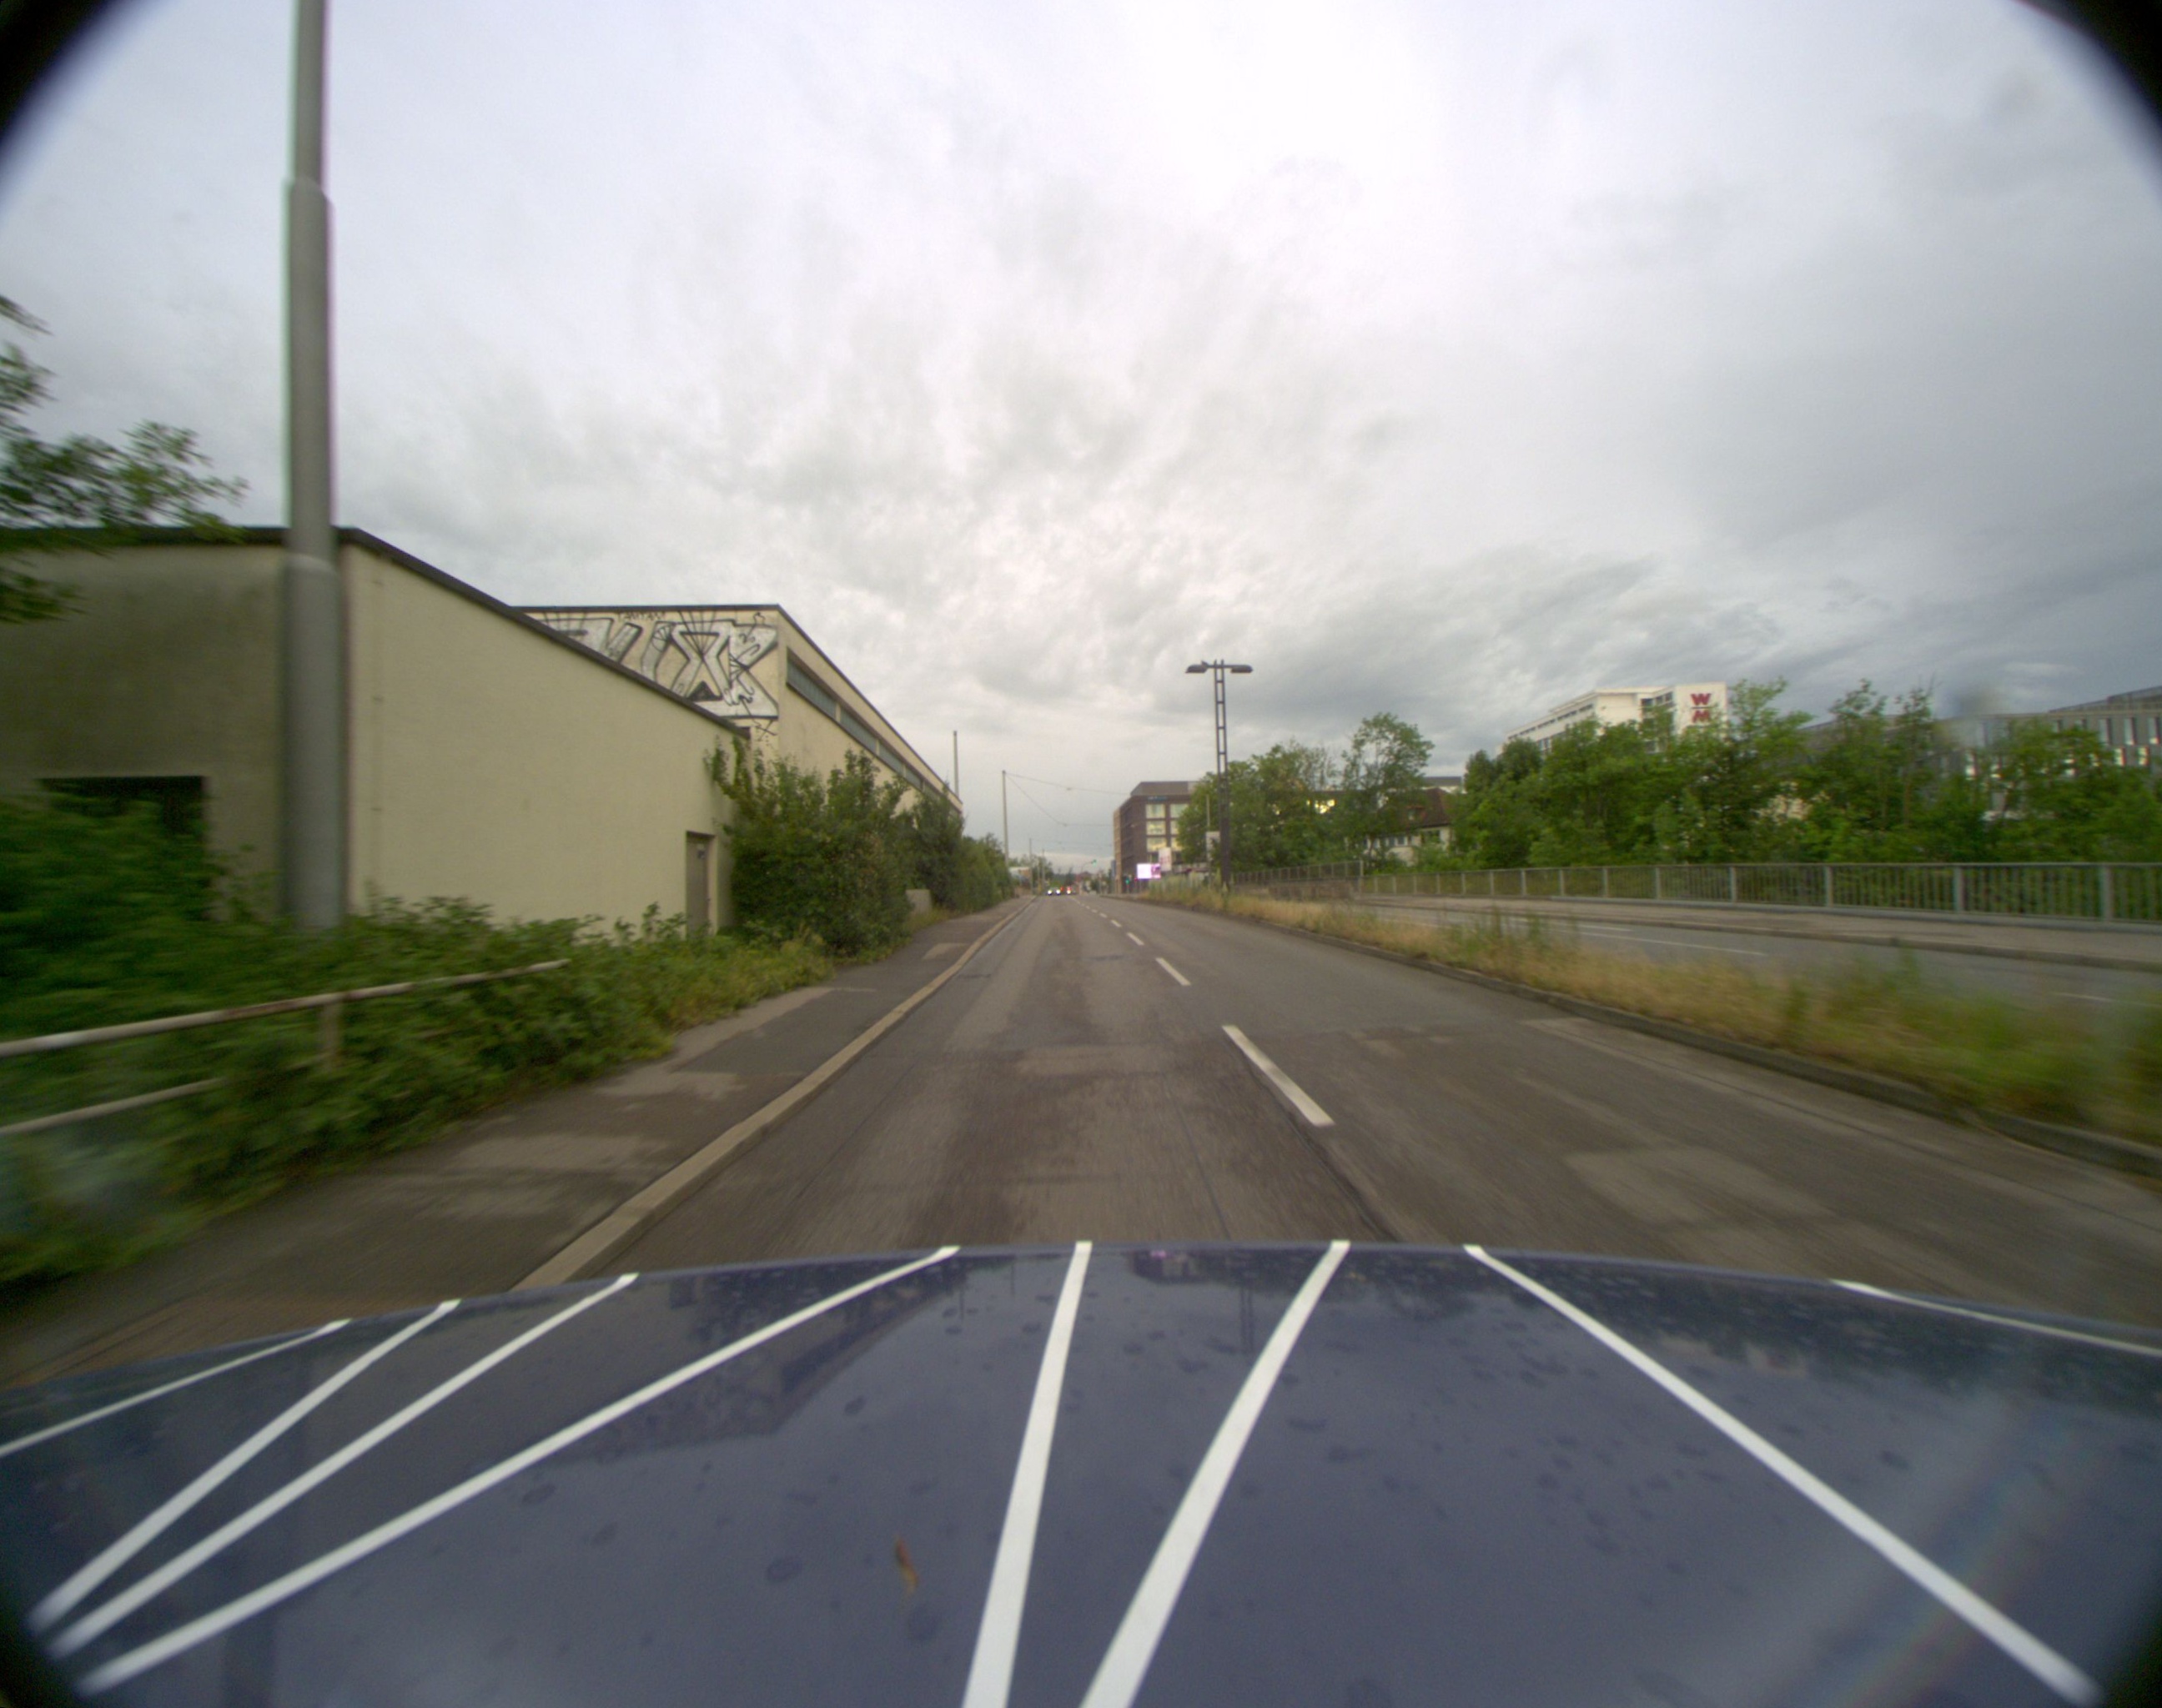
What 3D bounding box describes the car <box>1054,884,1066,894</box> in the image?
[{"bbox_3d":[-3.626,6.002,129.524,1.841,1.573,4.290,-2,-2,0],"label":"car"}]
